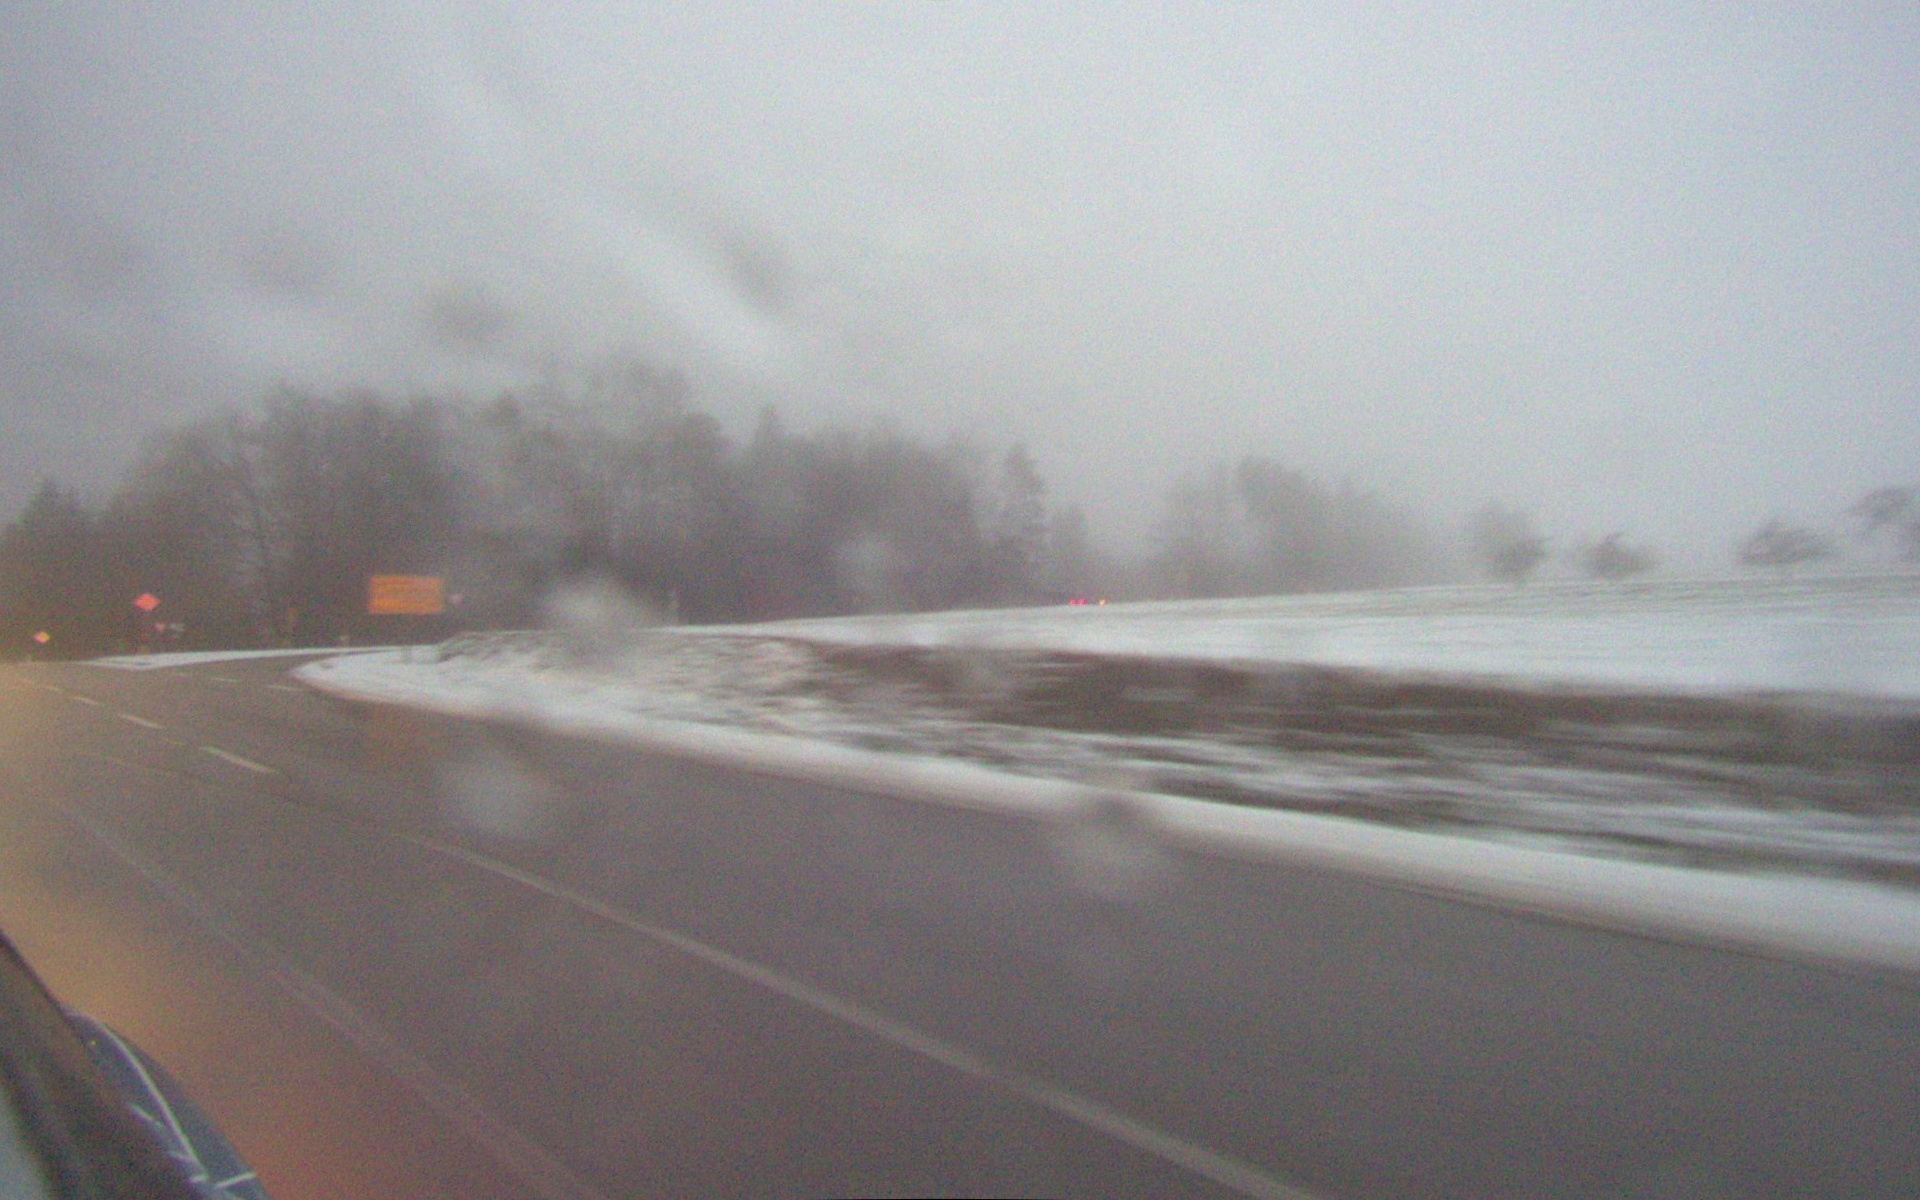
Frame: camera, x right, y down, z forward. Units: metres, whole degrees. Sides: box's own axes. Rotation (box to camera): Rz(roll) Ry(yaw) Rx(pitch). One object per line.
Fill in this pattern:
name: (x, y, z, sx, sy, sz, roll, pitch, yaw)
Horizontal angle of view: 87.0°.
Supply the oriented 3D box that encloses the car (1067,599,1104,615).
car: (12.386, 0.662, 99.782, 3.357, 1.463, 1.580, -1, -3, -36)
